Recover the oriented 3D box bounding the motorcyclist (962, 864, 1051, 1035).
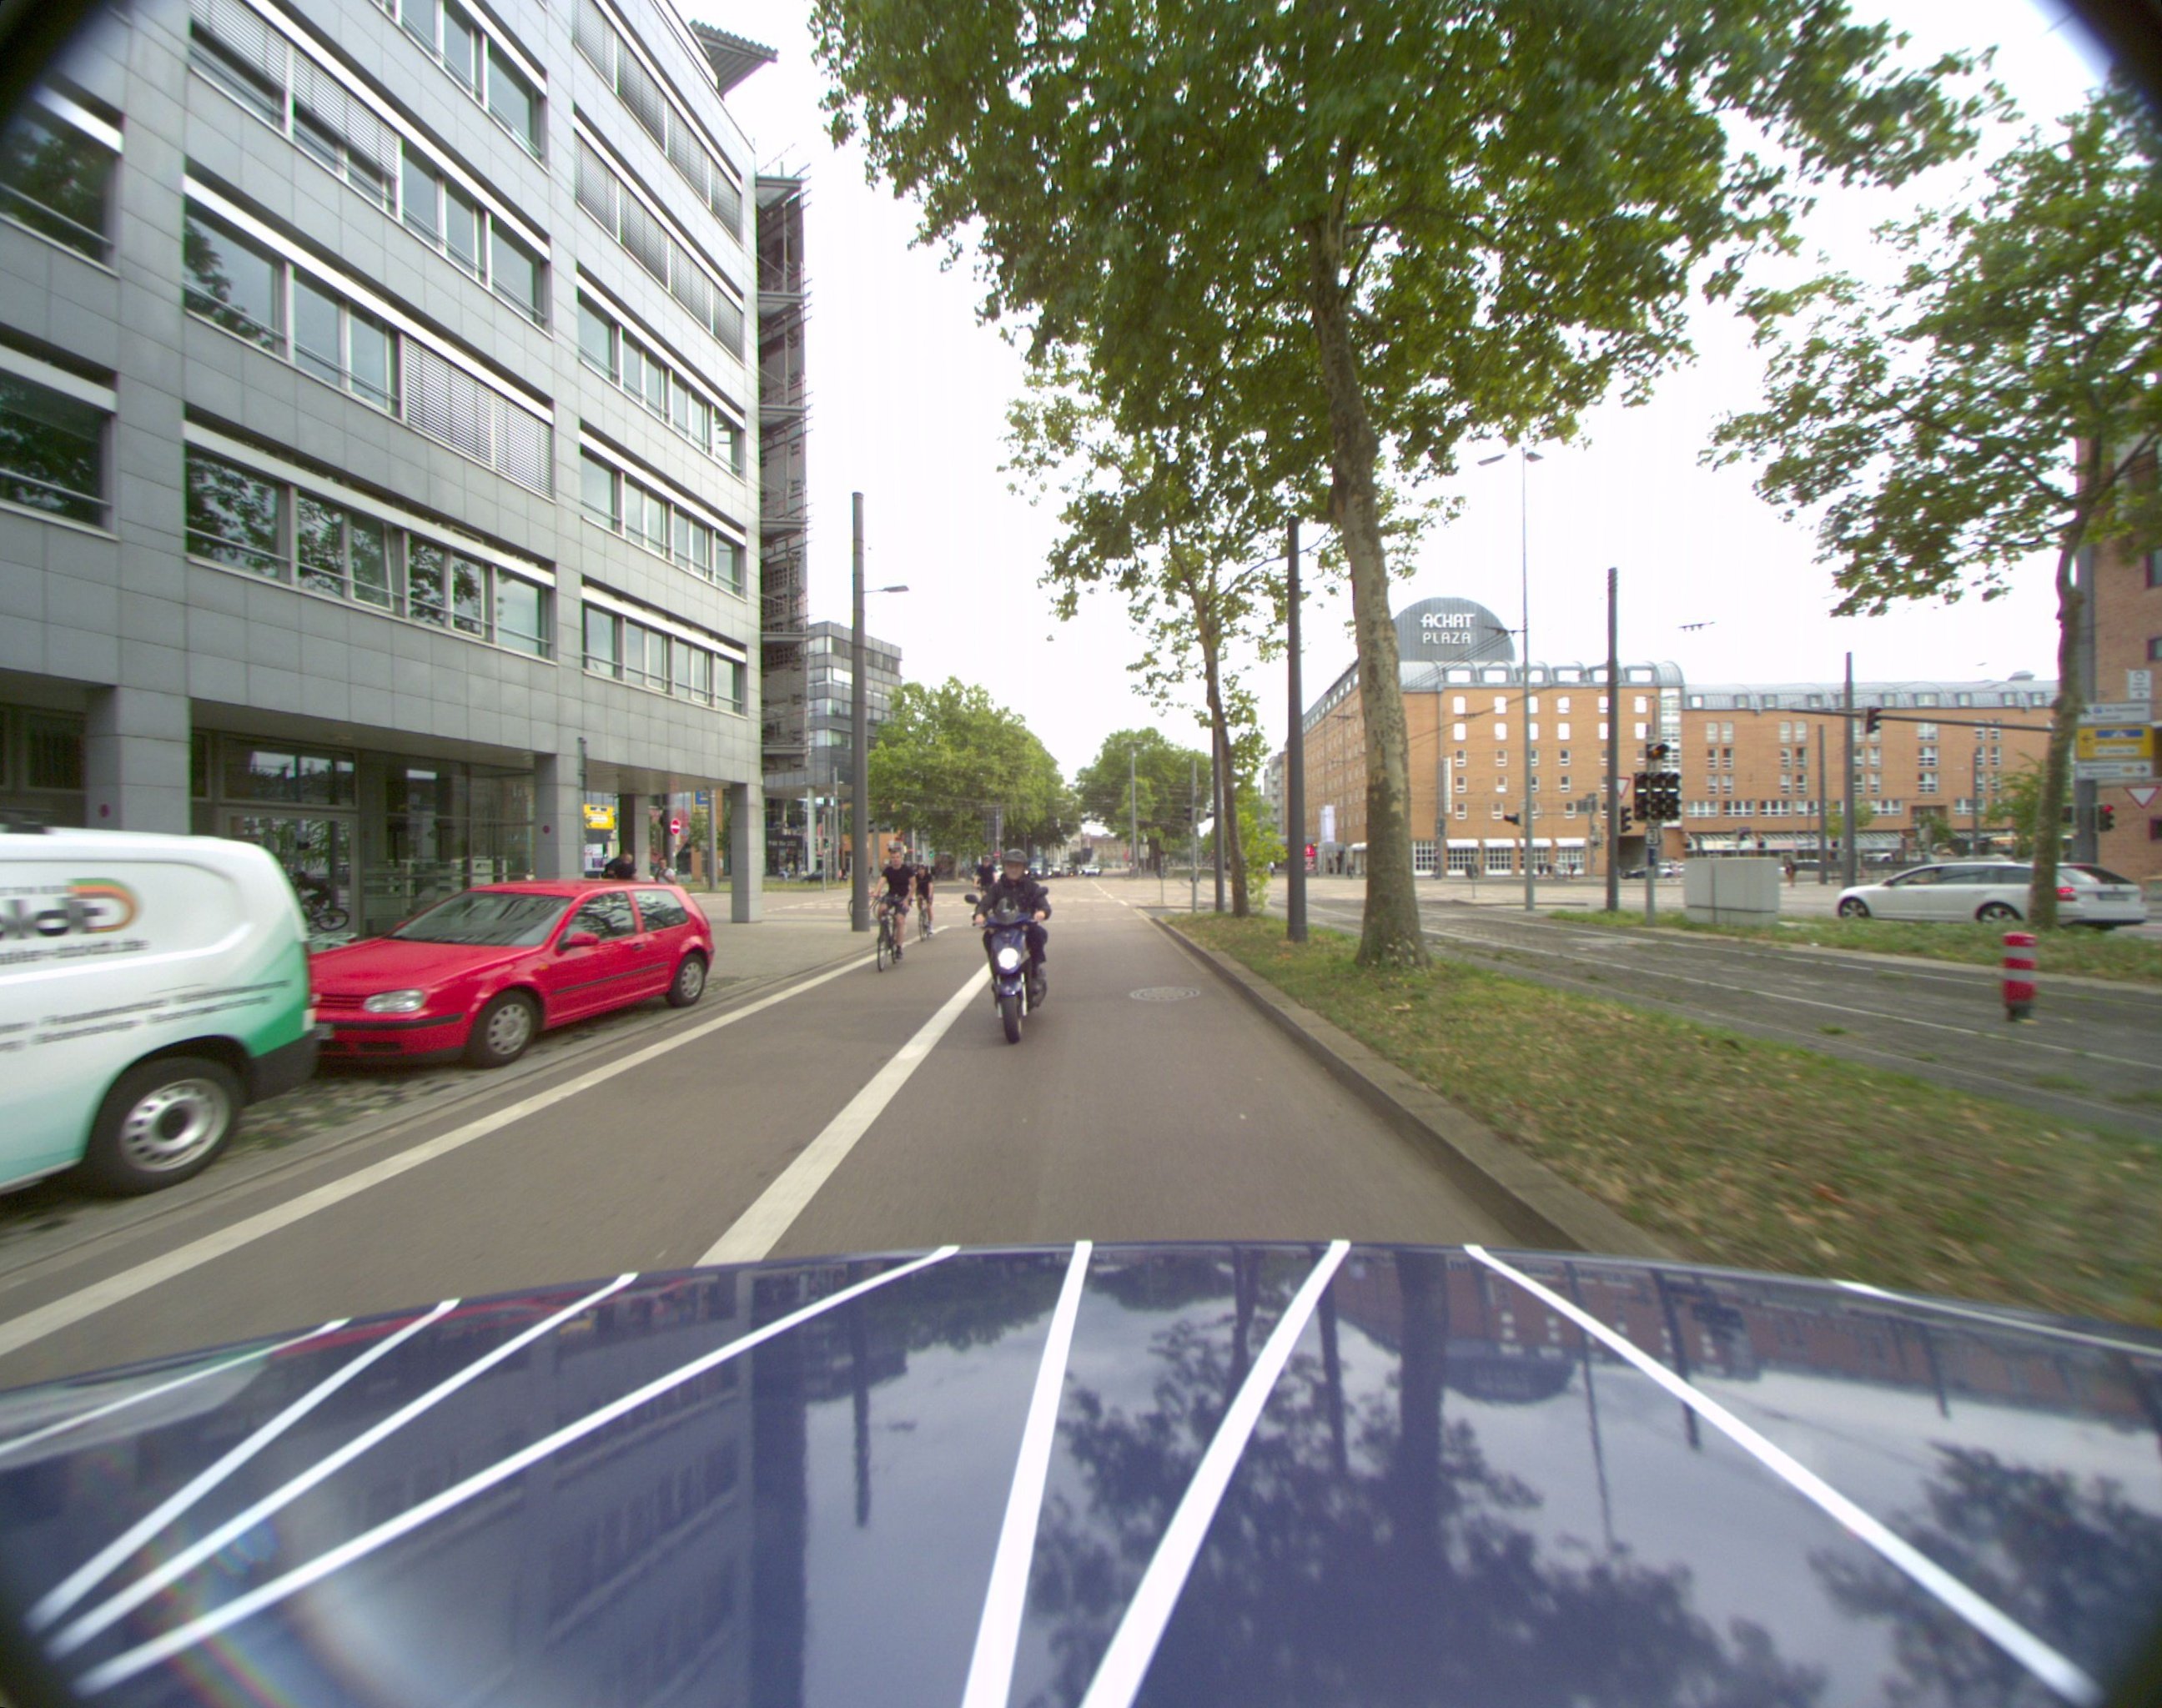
[{"bbox_3d":[-0.690,0.866,7.335,0.761,1.510,1.017,0,1,-1],"label":"motorcyclist"}]

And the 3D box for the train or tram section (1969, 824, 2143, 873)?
[{"bbox_3d":[70.909,-0.393,55.348,9.602,3.430,2.577,0,0,-1],"label":"train or tram section"}]

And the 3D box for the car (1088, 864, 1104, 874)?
[{"bbox_3d":[2.053,2.006,102.374,1.845,1.369,3.836,-1,-1,6],"label":"car"}]

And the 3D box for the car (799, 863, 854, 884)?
[{"bbox_3d":[-22.501,1.703,67.280,4.172,1.728,1.967,-1,0,13],"label":"car"}]

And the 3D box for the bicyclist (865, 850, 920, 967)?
[{"bbox_3d":[-2.953,0.829,12.000,0.591,1.757,1.035,0,0,1],"label":"bicyclist"}]

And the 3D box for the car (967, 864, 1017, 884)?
[{"bbox_3d":[-8.018,1.797,69.091,1.960,1.651,4.647,-2,0,32],"label":"car"}]

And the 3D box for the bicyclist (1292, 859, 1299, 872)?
[{"bbox_3d":[26.033,1.407,92.267,0.651,1.492,0.817,0,1,-4],"label":"bicyclist"}]

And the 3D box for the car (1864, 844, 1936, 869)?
[{"bbox_3d":[73.893,0.250,68.573,4.833,2.217,1.702,0,1,-2],"label":"car"}]

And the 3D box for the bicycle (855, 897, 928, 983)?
[{"bbox_3d":[-2.949,1.297,12.017,0.595,1.132,2.091,0,0,1],"label":"bicycle"}]

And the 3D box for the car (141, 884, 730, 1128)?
[{"bbox_3d":[-5.345,1.095,7.228,1.726,1.424,4.255,2,0,5],"label":"car"}]

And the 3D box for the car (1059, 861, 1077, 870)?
[{"bbox_3d":[-1.913,1.747,112.496,1.997,1.270,4.002,0,0,8],"label":"car"}]

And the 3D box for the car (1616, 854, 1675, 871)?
[{"bbox_3d":[50.251,0.747,67.717,3.998,1.470,1.800,0,0,-2],"label":"car"}]

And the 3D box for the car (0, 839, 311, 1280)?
[{"bbox_3d":[-5.419,0.838,2.132,1.832,1.853,4.647,1,0,-2],"label":"car"}]

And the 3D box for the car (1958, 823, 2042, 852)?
[{"bbox_3d":[77.105,-1.358,63.781,5.081,2.306,1.702,0,0,-2],"label":"car"}]

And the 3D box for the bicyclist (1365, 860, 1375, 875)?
[{"bbox_3d":[29.332,1.359,77.119,0.864,1.492,0.637,0,1,17],"label":"bicyclist"}]

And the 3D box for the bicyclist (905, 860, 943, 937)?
[{"bbox_3d":[-3.449,0.959,16.763,0.591,1.644,1.035,0,0,1],"label":"bicyclist"}]

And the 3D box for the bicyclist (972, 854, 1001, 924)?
[{"bbox_3d":[-2.418,0.887,19.569,0.591,1.760,1.035,0,0,1],"label":"bicyclist"}]

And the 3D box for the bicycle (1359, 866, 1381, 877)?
[{"bbox_3d":[29.349,1.776,77.128,2.056,1.002,0.641,0,1,17],"label":"bicycle"}]

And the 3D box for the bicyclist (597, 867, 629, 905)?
[{"bbox_3d":[-21.154,1.451,34.377,0.979,1.657,0.675,0,2,11],"label":"bicyclist"}]

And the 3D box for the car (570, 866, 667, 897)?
[{"bbox_3d":[-24.875,1.462,40.935,4.214,1.524,1.824,0,2,9],"label":"car"}]

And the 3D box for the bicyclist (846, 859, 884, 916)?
[{"bbox_3d":[-6.779,1.030,23.861,0.914,1.754,0.720,0,0,18],"label":"bicyclist"}]

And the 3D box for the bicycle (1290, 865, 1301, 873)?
[{"bbox_3d":[26.032,1.809,92.274,0.659,0.931,1.892,0,0,-3],"label":"bicycle"}]

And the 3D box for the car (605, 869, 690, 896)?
[{"bbox_3d":[-25.081,1.644,44.042,3.994,1.425,1.824,0,2,9],"label":"car"}]

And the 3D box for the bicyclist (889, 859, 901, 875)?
[{"bbox_3d":[-18.454,1.309,75.497,0.977,1.606,0.638,0,0,8],"label":"bicyclist"}]

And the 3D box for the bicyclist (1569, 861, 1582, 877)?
[{"bbox_3d":[46.145,1.401,70.906,0.865,1.492,0.636,0,1,-1],"label":"bicyclist"}]

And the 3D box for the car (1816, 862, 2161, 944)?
[{"bbox_3d":[18.316,0.890,15.664,1.788,1.413,4.658,0,0,0],"label":"car"}]

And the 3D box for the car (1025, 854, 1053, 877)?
[{"bbox_3d":[-4.575,1.252,84.480,2.174,2.441,6.999,-1,0,4],"label":"car"}]

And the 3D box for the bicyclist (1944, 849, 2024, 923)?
[{"bbox_3d":[20.288,0.704,17.086,0.724,1.600,0.901,0,0,0],"label":"bicyclist"}]

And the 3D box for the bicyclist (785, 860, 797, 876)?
[{"bbox_3d":[-29.061,1.391,76.174,0.977,1.607,0.638,0,1,8],"label":"bicyclist"}]

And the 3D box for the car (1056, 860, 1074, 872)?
[{"bbox_3d":[-2.206,1.651,105.817,1.915,1.533,4.094,0,0,6],"label":"car"}]

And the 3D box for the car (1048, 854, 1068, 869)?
[{"bbox_3d":[-2.987,0.991,100.143,1.997,2.002,5.439,0,0,6],"label":"car"}]

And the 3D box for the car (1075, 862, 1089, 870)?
[{"bbox_3d":[0.139,1.941,122.393,1.711,1.270,4.002,0,0,8],"label":"car"}]
